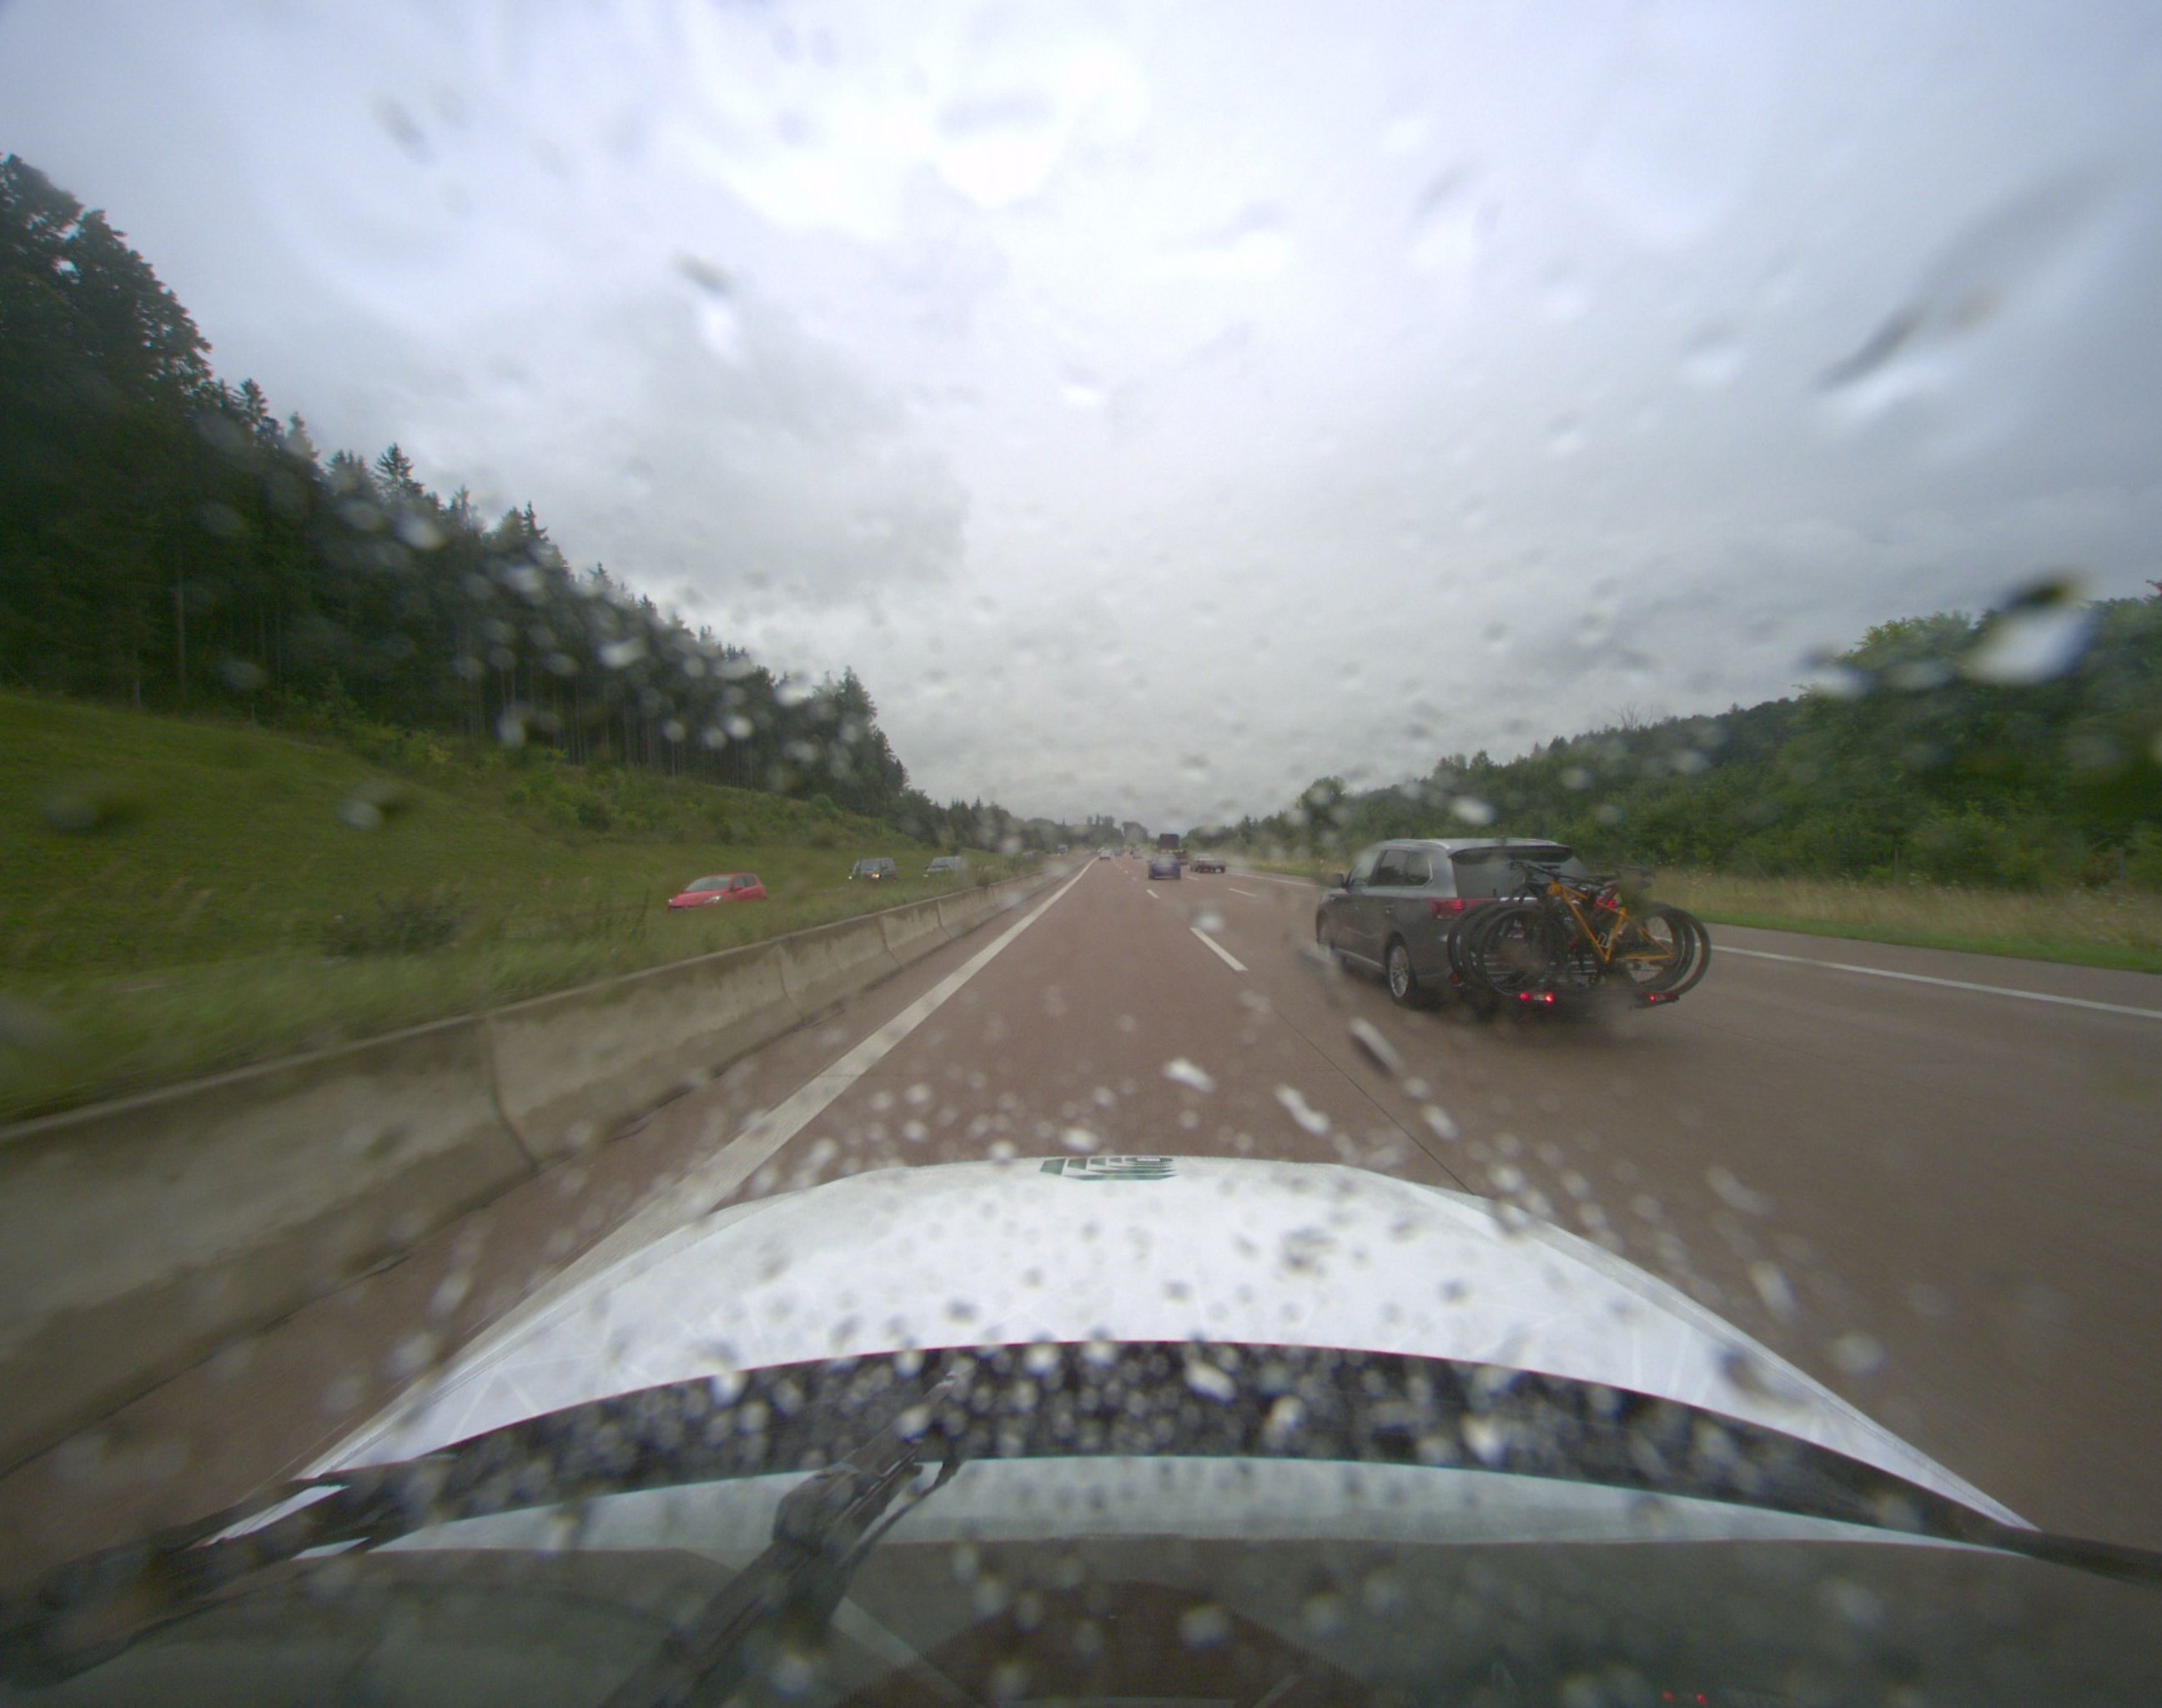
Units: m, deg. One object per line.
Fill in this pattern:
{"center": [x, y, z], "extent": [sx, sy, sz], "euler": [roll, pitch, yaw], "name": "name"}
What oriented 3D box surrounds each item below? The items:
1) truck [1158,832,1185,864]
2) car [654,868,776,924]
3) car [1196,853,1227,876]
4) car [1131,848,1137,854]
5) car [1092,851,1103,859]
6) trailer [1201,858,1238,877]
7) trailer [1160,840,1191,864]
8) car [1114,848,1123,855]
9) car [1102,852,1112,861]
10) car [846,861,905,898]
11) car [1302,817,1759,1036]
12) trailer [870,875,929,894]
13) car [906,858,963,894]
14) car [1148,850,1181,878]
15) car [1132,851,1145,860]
{"center": [11.528, -0.730, 104.436], "extent": [2.885, 3.964, 6.993], "euler": [0, -1, 3], "name": "truck"}
{"center": [-10.976, 1.200, 24.760], "extent": [1.720, 1.529, 4.118], "euler": [0, -1, 2], "name": "car"}
{"center": [9.822, 0.793, 61.709], "extent": [1.691, 1.611, 4.979], "euler": [-1, -1, 2], "name": "car"}
{"center": [16.137, -0.908, 248.209], "extent": [1.985, 2.014, 4.002], "euler": [0, -1, 2], "name": "car"}
{"center": [3.861, 0.323, 187.813], "extent": [2.313, 1.750, 4.880], "euler": [0, -1, 3], "name": "car"}
{"center": [9.644, 0.910, 56.974], "extent": [1.963, 1.166, 4.642], "euler": [0, 1, 2], "name": "trailer"}
{"center": [11.152, -0.178, 96.861], "extent": [2.869, 2.675, 11.406], "euler": [0, -1, 3], "name": "trailer"}
{"center": [9.964, -0.557, 215.357], "extent": [2.313, 1.750, 4.880], "euler": [0, -1, 3], "name": "car"}
{"center": [4.741, 0.475, 148.212], "extent": [1.866, 1.444, 4.881], "euler": [0, 1, 3], "name": "car"}
{"center": [-12.203, 1.474, 48.791], "extent": [1.986, 2.014, 5.675], "euler": [-1, -1, 1], "name": "car"}
{"center": [4.058, 0.566, 8.853], "extent": [1.985, 1.593, 5.824], "euler": [0, -1, 3], "name": "car"}
{"center": [-12.016, 2.003, 54.537], "extent": [2.197, 0.998, 6.853], "euler": [-3, -1, 1], "name": "trailer"}
{"center": [-7.726, 1.130, 43.519], "extent": [1.882, 1.780, 4.942], "euler": [0, -1, 3], "name": "car"}
{"center": [4.936, 0.614, 48.603], "extent": [1.764, 1.564, 4.149], "euler": [0, -1, 3], "name": "car"}
{"center": [11.256, 0.272, 160.084], "extent": [2.313, 1.750, 4.880], "euler": [0, -1, 3], "name": "car"}
